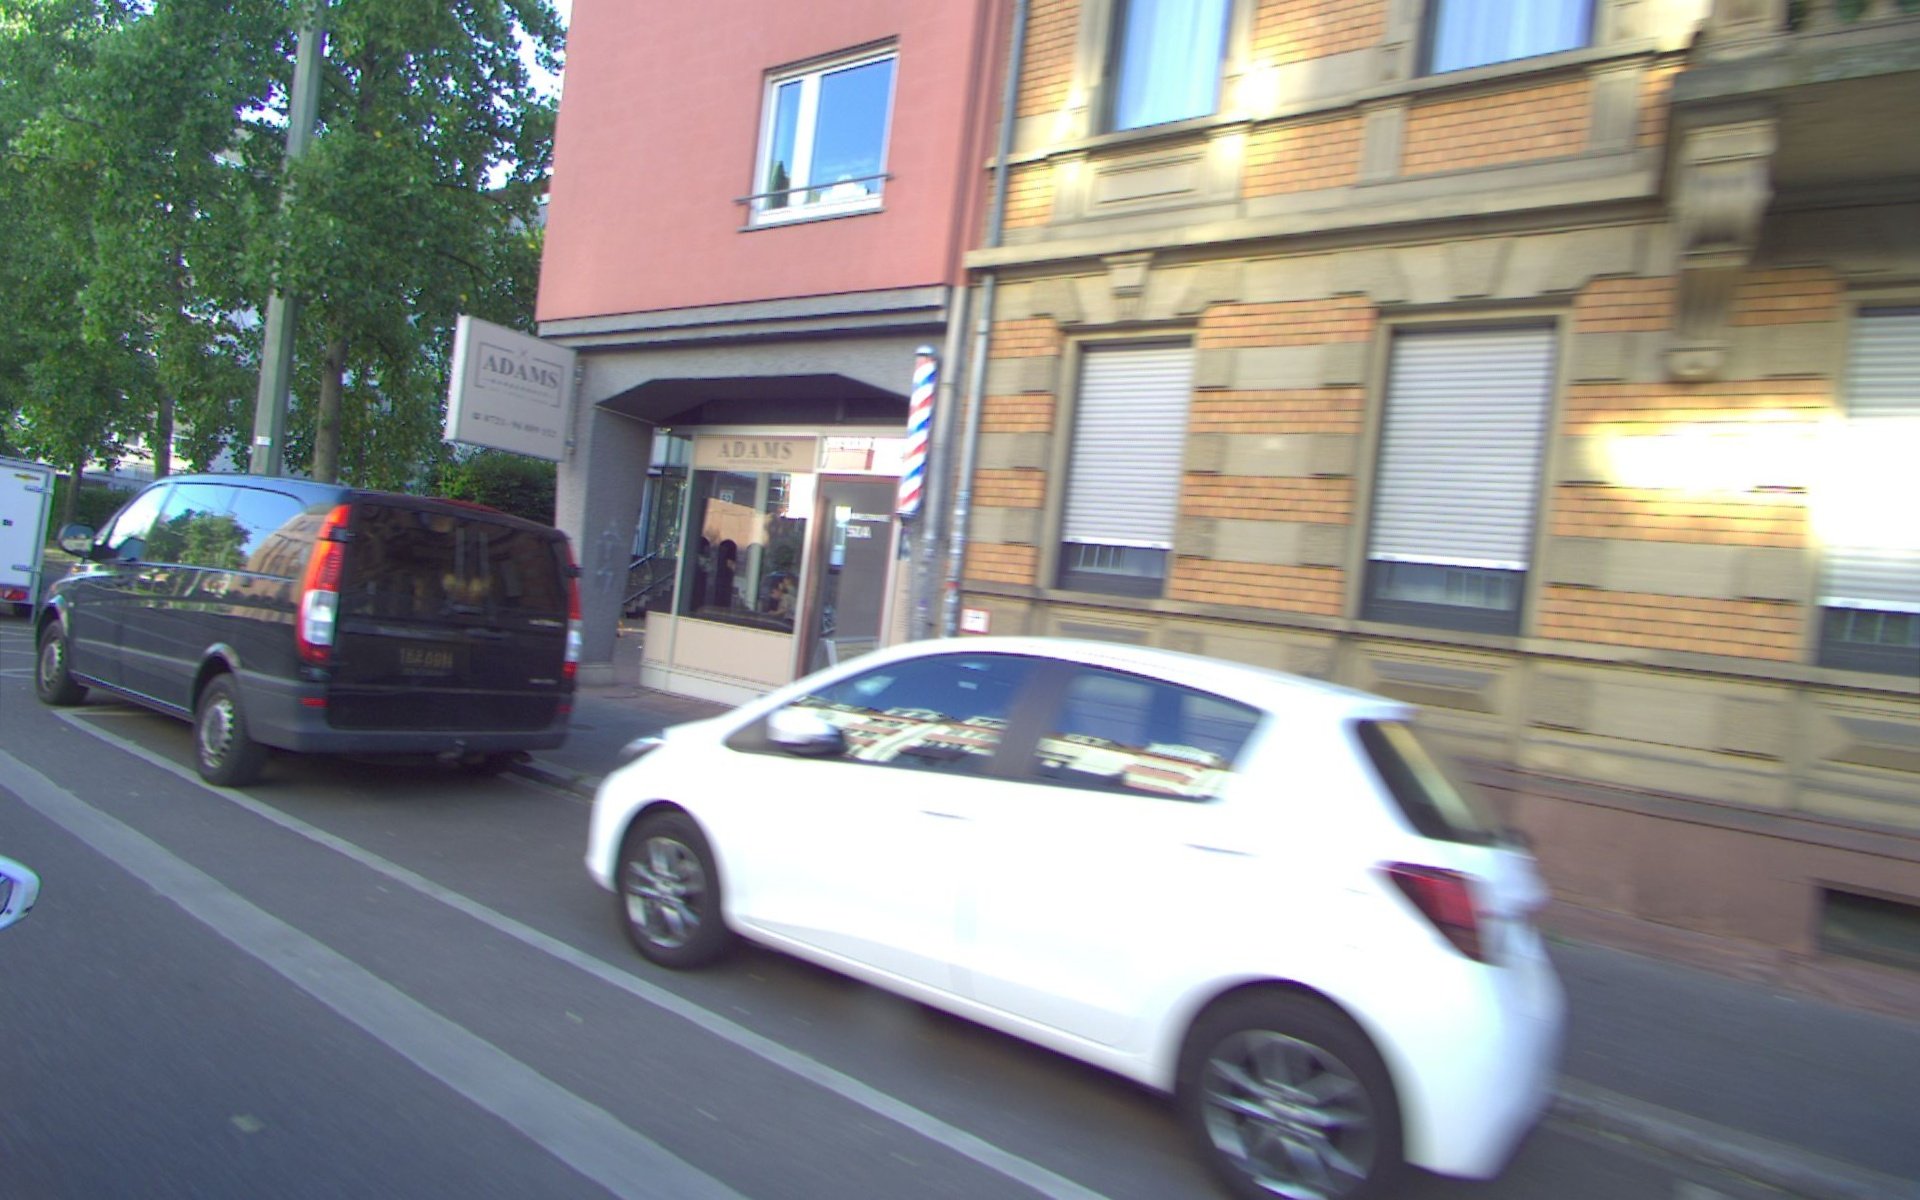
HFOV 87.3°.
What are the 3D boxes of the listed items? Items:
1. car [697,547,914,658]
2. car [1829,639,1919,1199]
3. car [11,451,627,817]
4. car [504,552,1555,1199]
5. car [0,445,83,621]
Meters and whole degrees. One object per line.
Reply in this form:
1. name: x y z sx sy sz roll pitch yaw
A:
1. car: -2.696 0.084 18.443 1.747 1.670 4.034 7 2 28
2. car: 4.370 1.156 1.107 4.798 1.792 1.969 6 -2 34
3. car: -4.951 0.074 7.488 4.910 1.890 1.958 7 -2 35
4. car: 0.149 0.820 4.214 3.896 1.513 1.734 7 -2 32
5. car: -13.571 -1.019 13.566 3.650 2.145 1.706 6 -1 36
